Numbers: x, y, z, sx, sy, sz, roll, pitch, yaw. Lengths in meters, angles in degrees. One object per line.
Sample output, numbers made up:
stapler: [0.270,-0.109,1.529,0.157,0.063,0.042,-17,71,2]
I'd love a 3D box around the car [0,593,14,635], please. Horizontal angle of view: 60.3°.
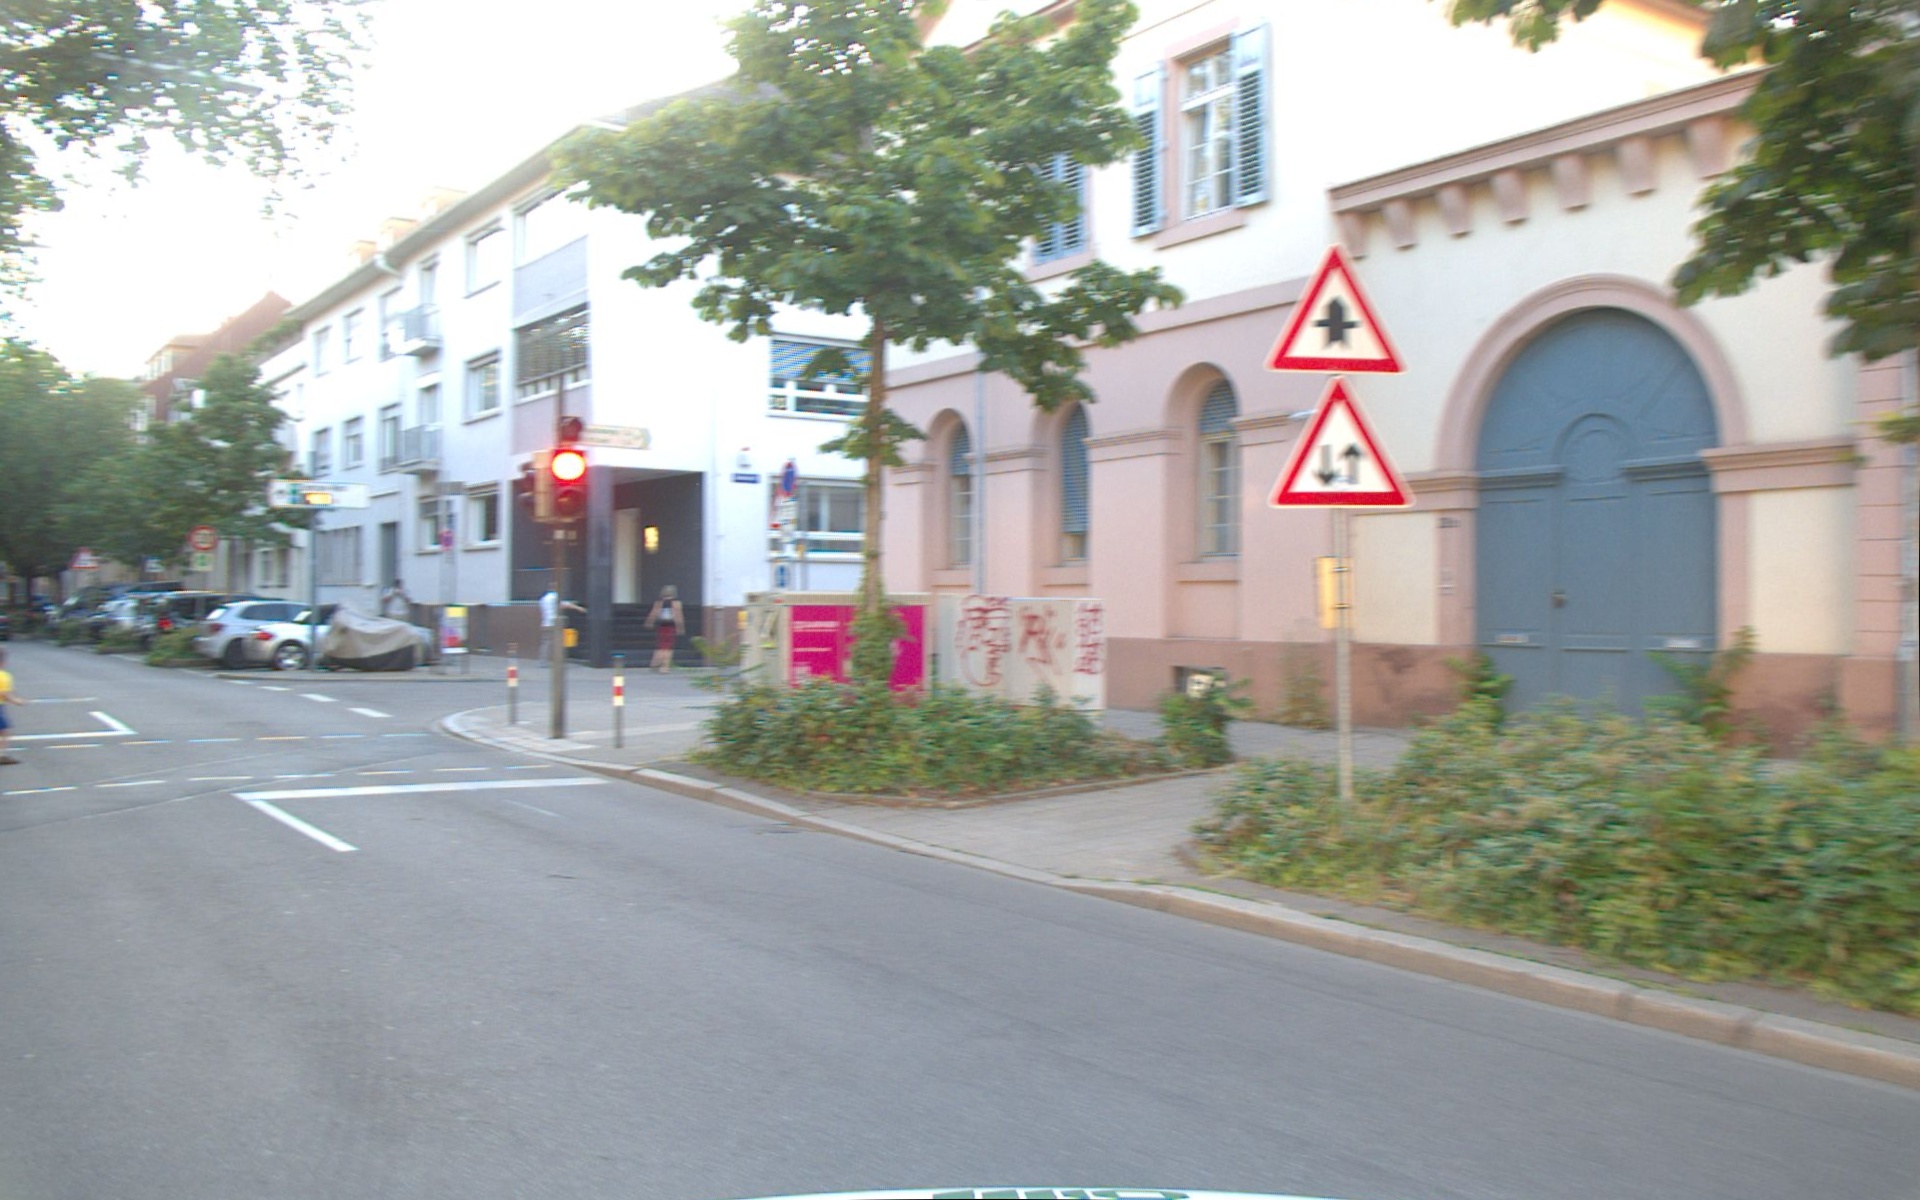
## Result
car: [-37.775,0.528,63.825,1.810,1.589,3.978,2,-1,-35]

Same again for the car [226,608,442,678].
car: [-13.084,0.858,34.652,3.979,1.366,1.687,0,0,-34]

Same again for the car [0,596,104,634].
car: [-40.238,0.683,73.237,3.980,1.630,1.686,1,-1,-35]

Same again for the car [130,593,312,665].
car: [-18.576,0.689,41.619,3.980,1.720,1.686,0,0,-35]

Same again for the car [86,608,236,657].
car: [-24.641,0.965,51.066,3.980,1.434,1.686,0,0,-35]

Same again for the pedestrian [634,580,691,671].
pedestrian: [-5.947,0.507,33.121,0.910,1.782,0.771,1,0,8]

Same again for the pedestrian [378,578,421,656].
pedestrian: [-13.622,0.417,40.220,0.760,1.873,0.932,1,-1,-34]

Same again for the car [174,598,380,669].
car: [-15.034,0.705,36.476,3.980,1.467,1.686,0,0,-35]

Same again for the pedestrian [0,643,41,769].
pedestrian: [-9.027,0.976,15.366,0.825,1.140,0.561,1,-1,-30]

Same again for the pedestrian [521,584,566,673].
pedestrian: [-8.484,0.568,33.696,0.696,1.782,0.692,1,-1,-30]

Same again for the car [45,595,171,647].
car: [-31.538,0.763,61.247,3.980,1.862,1.686,1,-1,-35]

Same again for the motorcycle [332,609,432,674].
motorcycle: [-11.192,0.790,32.012,1.777,1.220,0.608,0,0,-26]

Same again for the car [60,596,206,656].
car: [-26.325,0.797,52.668,3.980,1.847,1.686,0,0,-35]

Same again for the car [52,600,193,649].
car: [-27.853,0.810,55.043,3.980,1.557,1.686,1,-1,-35]
